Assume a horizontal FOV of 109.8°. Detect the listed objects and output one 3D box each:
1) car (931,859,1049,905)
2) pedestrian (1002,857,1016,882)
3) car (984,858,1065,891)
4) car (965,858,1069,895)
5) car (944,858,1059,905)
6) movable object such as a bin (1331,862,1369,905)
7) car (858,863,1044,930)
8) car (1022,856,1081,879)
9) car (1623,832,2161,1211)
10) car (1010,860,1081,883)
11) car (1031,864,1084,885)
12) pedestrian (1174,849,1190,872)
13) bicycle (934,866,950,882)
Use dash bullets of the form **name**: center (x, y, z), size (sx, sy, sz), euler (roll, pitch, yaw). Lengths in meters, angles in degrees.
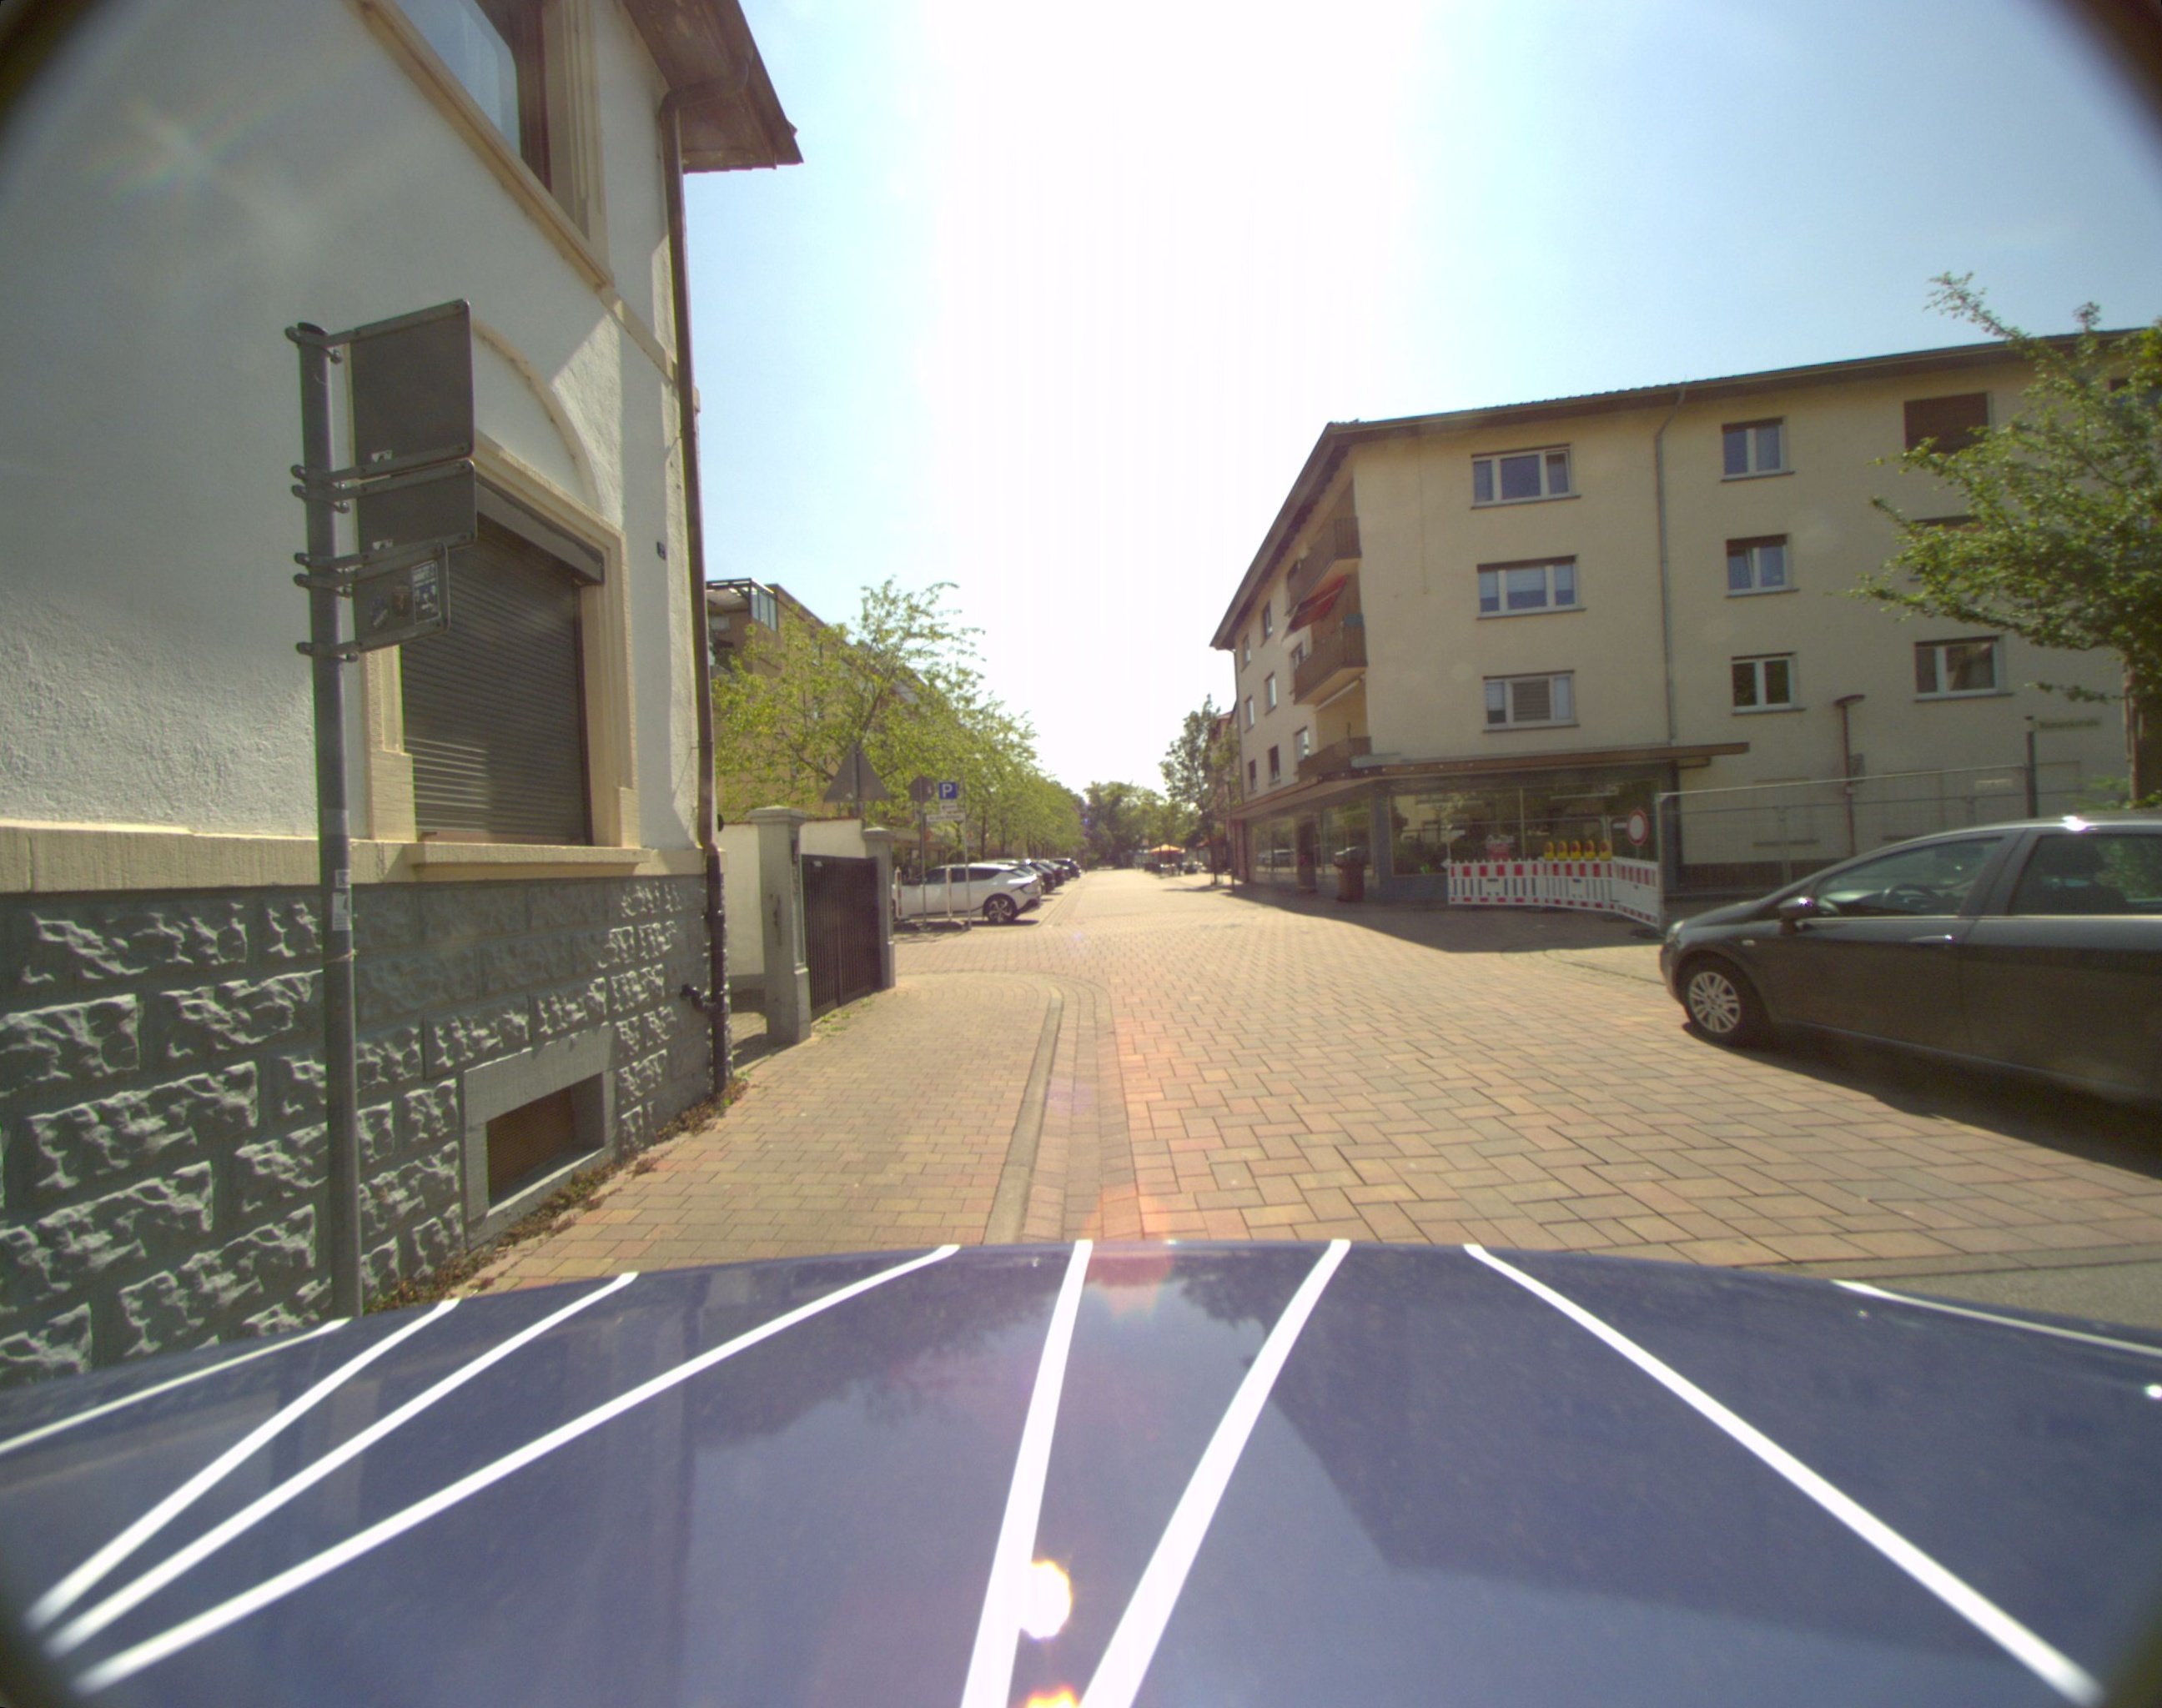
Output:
- **car**: center (-3.182, 0.990, 27.146), size (3.954, 1.525, 1.824), euler (-1, 0, 1)
- **pedestrian**: center (-5.203, 1.102, 54.958), size (0.614, 1.720, 0.649), euler (-3, 1, 36)
- **car**: center (-2.926, 1.042, 39.854), size (4.037, 1.602, 1.681), euler (-1, 0, 1)
- **car**: center (-2.893, 1.021, 35.038), size (4.518, 1.579, 1.851), euler (-1, 0, 4)
- **car**: center (-3.053, 1.043, 29.878), size (4.290, 1.671, 2.000), euler (-2, 0, 0)
- **movable object such as a bin**: center (7.018, 0.748, 19.817), size (0.657, 1.064, 0.663), euler (-4, 0, -5)
- **car**: center (-3.260, 1.053, 19.637), size (4.451, 1.566, 1.789), euler (-1, 0, 2)
- **car**: center (-2.192, 1.009, 56.919), size (4.254, 1.608, 1.757), euler (-1, 0, 1)
- **car**: center (5.144, 0.663, 3.973), size (1.707, 1.488, 3.856), euler (-3, 0, -2)
- **car**: center (-2.374, 1.150, 50.989), size (4.390, 1.455, 1.888), euler (-1, 0, -17)
- **car**: center (-2.115, 1.829, 68.287), size (4.585, 1.534, 1.807), euler (-3, 0, 2)
- **pedestrian**: center (7.901, 0.513, 59.536), size (0.758, 1.770, 0.872), euler (-3, 0, 41)
- **bicycle**: center (-10.180, 1.422, 55.694), size (0.643, 1.075, 1.866), euler (-4, 0, 2)
